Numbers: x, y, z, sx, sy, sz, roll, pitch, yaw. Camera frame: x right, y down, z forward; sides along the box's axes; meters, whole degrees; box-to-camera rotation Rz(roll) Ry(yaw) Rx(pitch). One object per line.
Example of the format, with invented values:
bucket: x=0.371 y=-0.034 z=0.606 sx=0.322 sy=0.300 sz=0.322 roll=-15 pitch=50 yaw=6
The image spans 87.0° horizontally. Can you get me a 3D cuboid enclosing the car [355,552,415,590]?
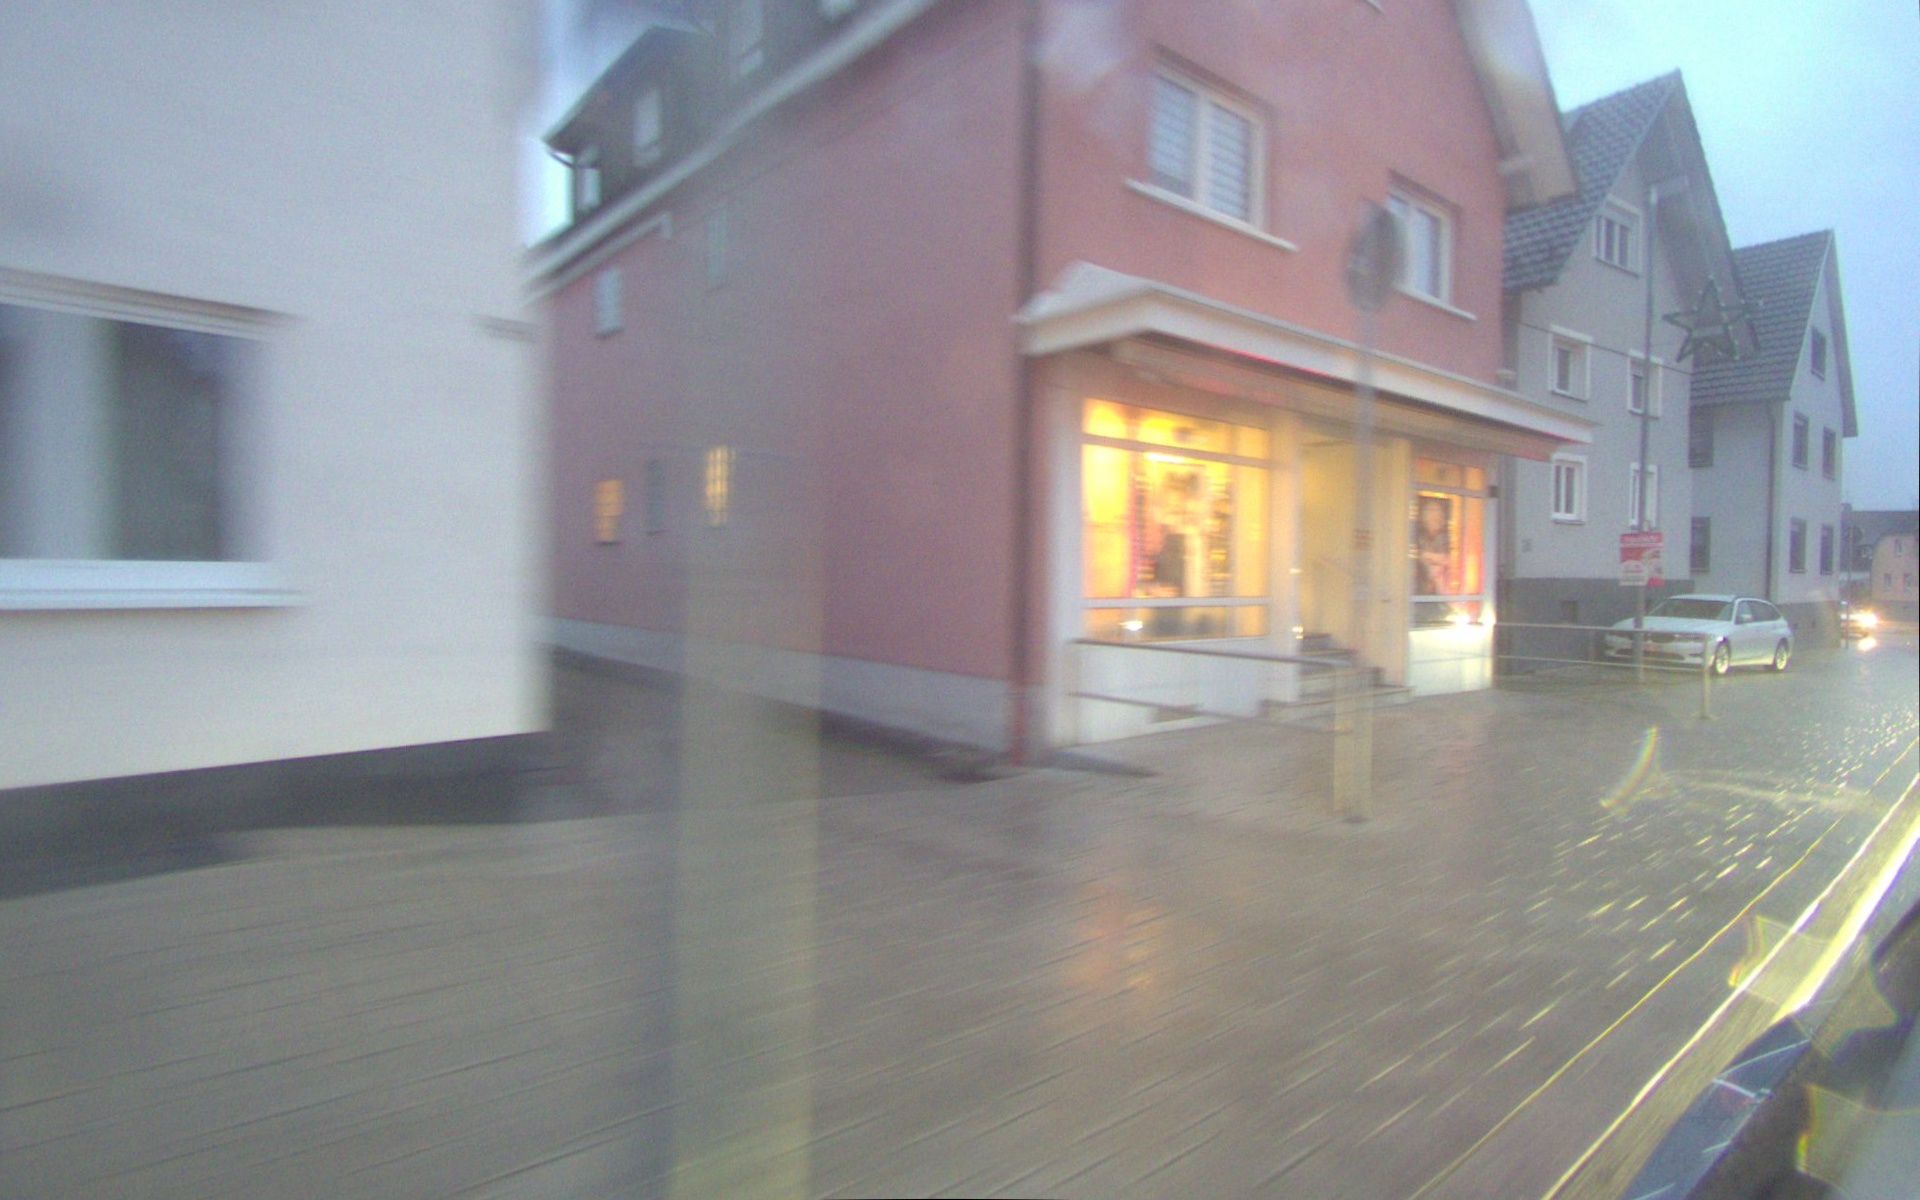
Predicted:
car: x=-26.068 y=-1.291 z=45.835 sx=1.737 sy=1.649 sz=3.996 roll=-2 pitch=2 yaw=-39

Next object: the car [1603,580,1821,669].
car: x=14.392 y=0.385 z=19.290 sx=4.607 sy=1.504 sz=1.936 roll=-1 pitch=0 yaw=-34

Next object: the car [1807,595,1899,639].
car: x=40.398 y=0.718 z=45.906 sx=1.978 sy=1.878 sz=3.968 roll=0 pitch=0 yaw=24
